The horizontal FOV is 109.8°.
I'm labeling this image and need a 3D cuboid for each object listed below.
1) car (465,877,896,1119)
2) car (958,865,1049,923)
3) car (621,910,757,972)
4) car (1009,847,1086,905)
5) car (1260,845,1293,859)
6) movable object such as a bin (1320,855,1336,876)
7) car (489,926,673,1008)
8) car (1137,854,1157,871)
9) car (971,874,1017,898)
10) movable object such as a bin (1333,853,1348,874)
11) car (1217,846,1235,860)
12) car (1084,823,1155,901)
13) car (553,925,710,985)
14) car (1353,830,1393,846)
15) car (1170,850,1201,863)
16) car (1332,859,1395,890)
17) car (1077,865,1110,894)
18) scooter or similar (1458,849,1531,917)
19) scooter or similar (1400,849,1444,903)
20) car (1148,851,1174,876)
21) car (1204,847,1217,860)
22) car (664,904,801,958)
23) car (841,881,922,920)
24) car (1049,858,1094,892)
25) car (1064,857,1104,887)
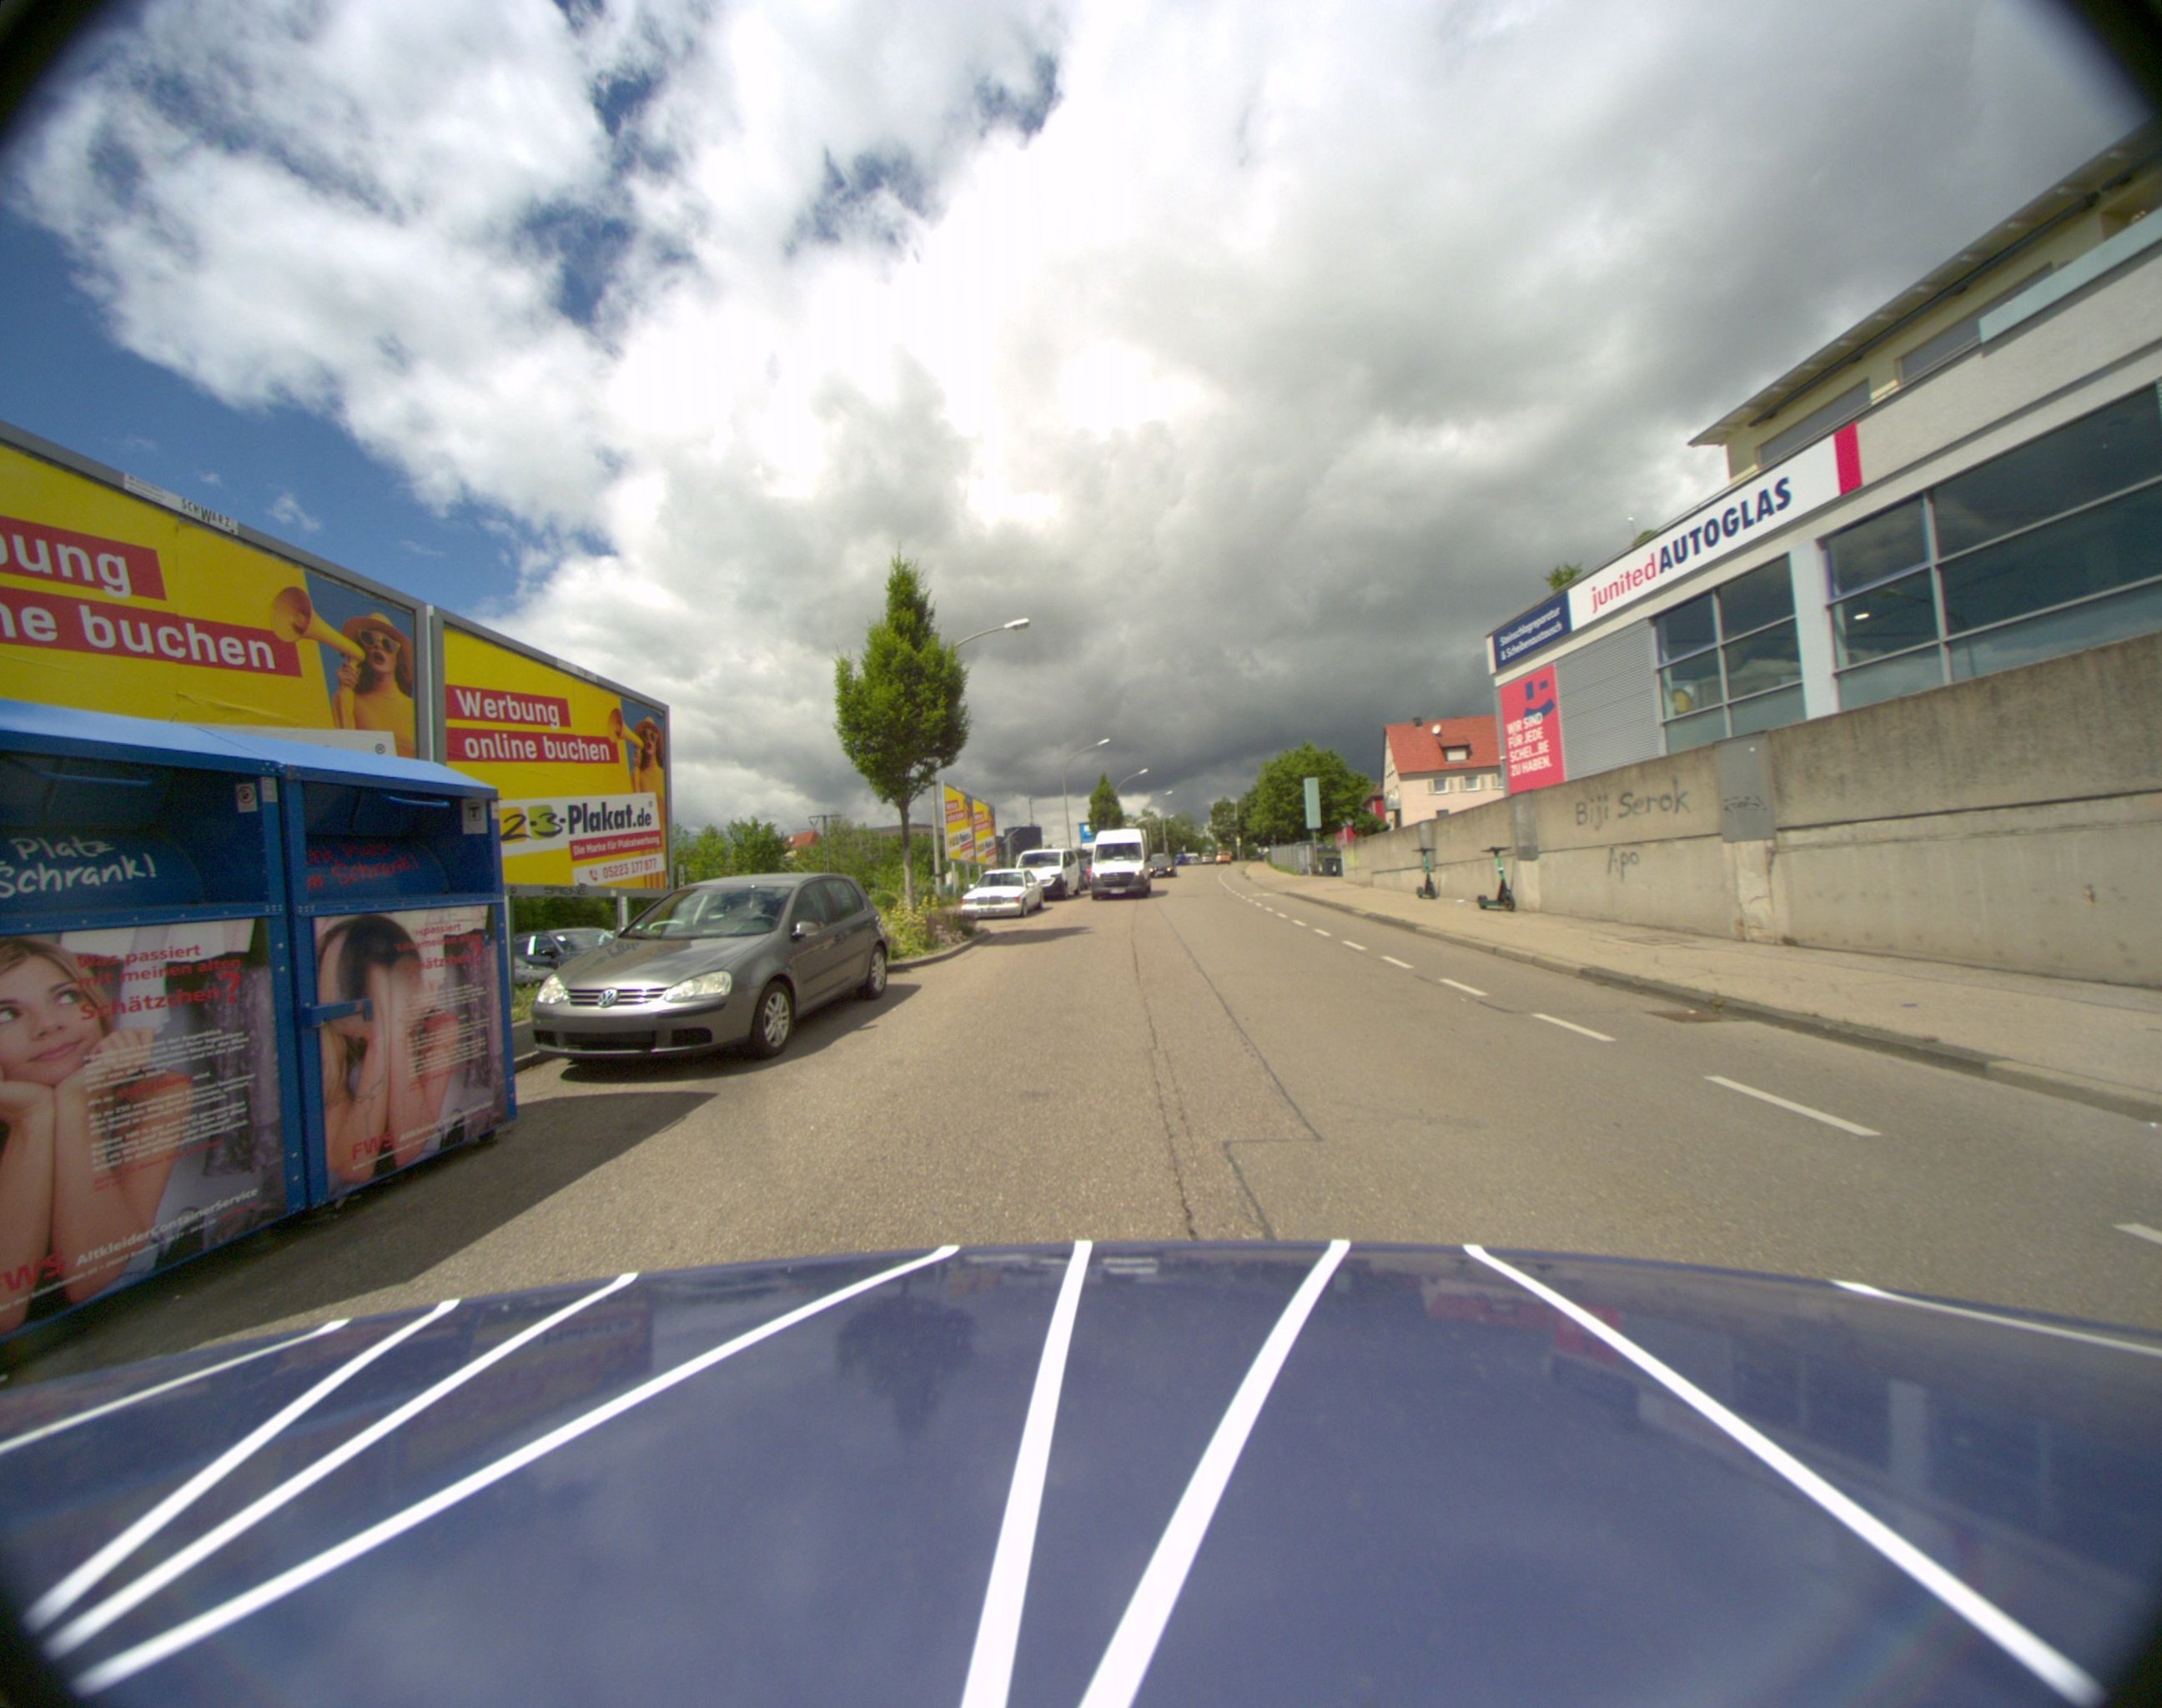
[{"bbox_3d":[-3.229,1.056,7.188,1.659,1.477,4.045,-1,0,4],"label":"car"},{"bbox_3d":[-2.135,1.098,22.183,1.640,1.379,4.207,-3,0,7],"label":"car"},{"bbox_3d":[-12.077,2.624,23.349,3.990,1.630,1.643,-3,0,28],"label":"car"},{"bbox_3d":[-1.197,0.766,30.144,1.979,1.992,5.550,-3,0,8],"label":"car"},{"bbox_3d":[23.756,-0.267,92.389,3.852,1.497,1.587,-3,0,14],"label":"car"},{"bbox_3d":[12.606,0.575,38.798,0.663,1.074,0.517,0,1,7],"label":"movable object such as a bin"},{"bbox_3d":[-12.034,2.644,18.279,3.991,1.626,1.719,-3,0,24],"label":"car"},{"bbox_3d":[6.125,0.747,70.550,1.401,1.424,3.447,-3,0,11],"label":"car"},{"bbox_3d":[-5.887,2.150,51.941,1.819,1.343,4.558,-3,0,11],"label":"car"},{"bbox_3d":[13.205,0.487,38.681,0.663,1.074,0.517,0,1,7],"label":"movable object such as a bin"},{"bbox_3d":[16.648,-0.141,86.903,1.603,1.482,3.686,-3,0,16],"label":"car"},{"bbox_3d":[1.616,0.239,29.249,2.081,2.576,6.066,-3,0,8],"label":"car"},{"bbox_3d":[-12.562,2.776,21.211,3.991,1.373,1.668,-3,0,23],"label":"car"},{"bbox_3d":[32.431,-1.760,84.486,4.013,1.497,1.587,-3,0,14],"label":"car"},{"bbox_3d":[18.244,0.385,132.283,5.138,1.958,1.957,-3,1,-30],"label":"car"},{"bbox_3d":[20.598,1.457,55.557,3.994,2.002,1.853,-3,1,10],"label":"car"},{"bbox_3d":[0.762,1.510,45.585,1.596,1.514,2.859,-3,0,7],"label":"car"},{"bbox_3d":[8.283,0.561,15.274,0.520,1.268,1.383,-5,1,-4],"label":"scooter or similar"},{"bbox_3d":[8.543,0.523,19.057,0.558,1.268,1.306,-3,1,5],"label":"scooter or similar"},{"bbox_3d":[5.448,0.607,51.576,1.584,1.497,3.959,-3,0,6],"label":"car"},{"bbox_3d":[17.780,-0.084,104.495,1.645,1.523,4.225,-3,0,10],"label":"car"},{"bbox_3d":[-11.856,2.614,25.909,3.992,1.589,1.795,-3,0,16],"label":"car"},{"bbox_3d":[-9.253,2.134,35.686,1.819,1.433,4.558,-3,0,11],"label":"car"},{"bbox_3d":[-0.410,0.979,37.296,1.596,1.442,3.981,-3,0,7],"label":"car"},{"bbox_3d":[0.215,0.976,41.798,1.596,1.473,3.502,-3,0,9],"label":"car"}]
